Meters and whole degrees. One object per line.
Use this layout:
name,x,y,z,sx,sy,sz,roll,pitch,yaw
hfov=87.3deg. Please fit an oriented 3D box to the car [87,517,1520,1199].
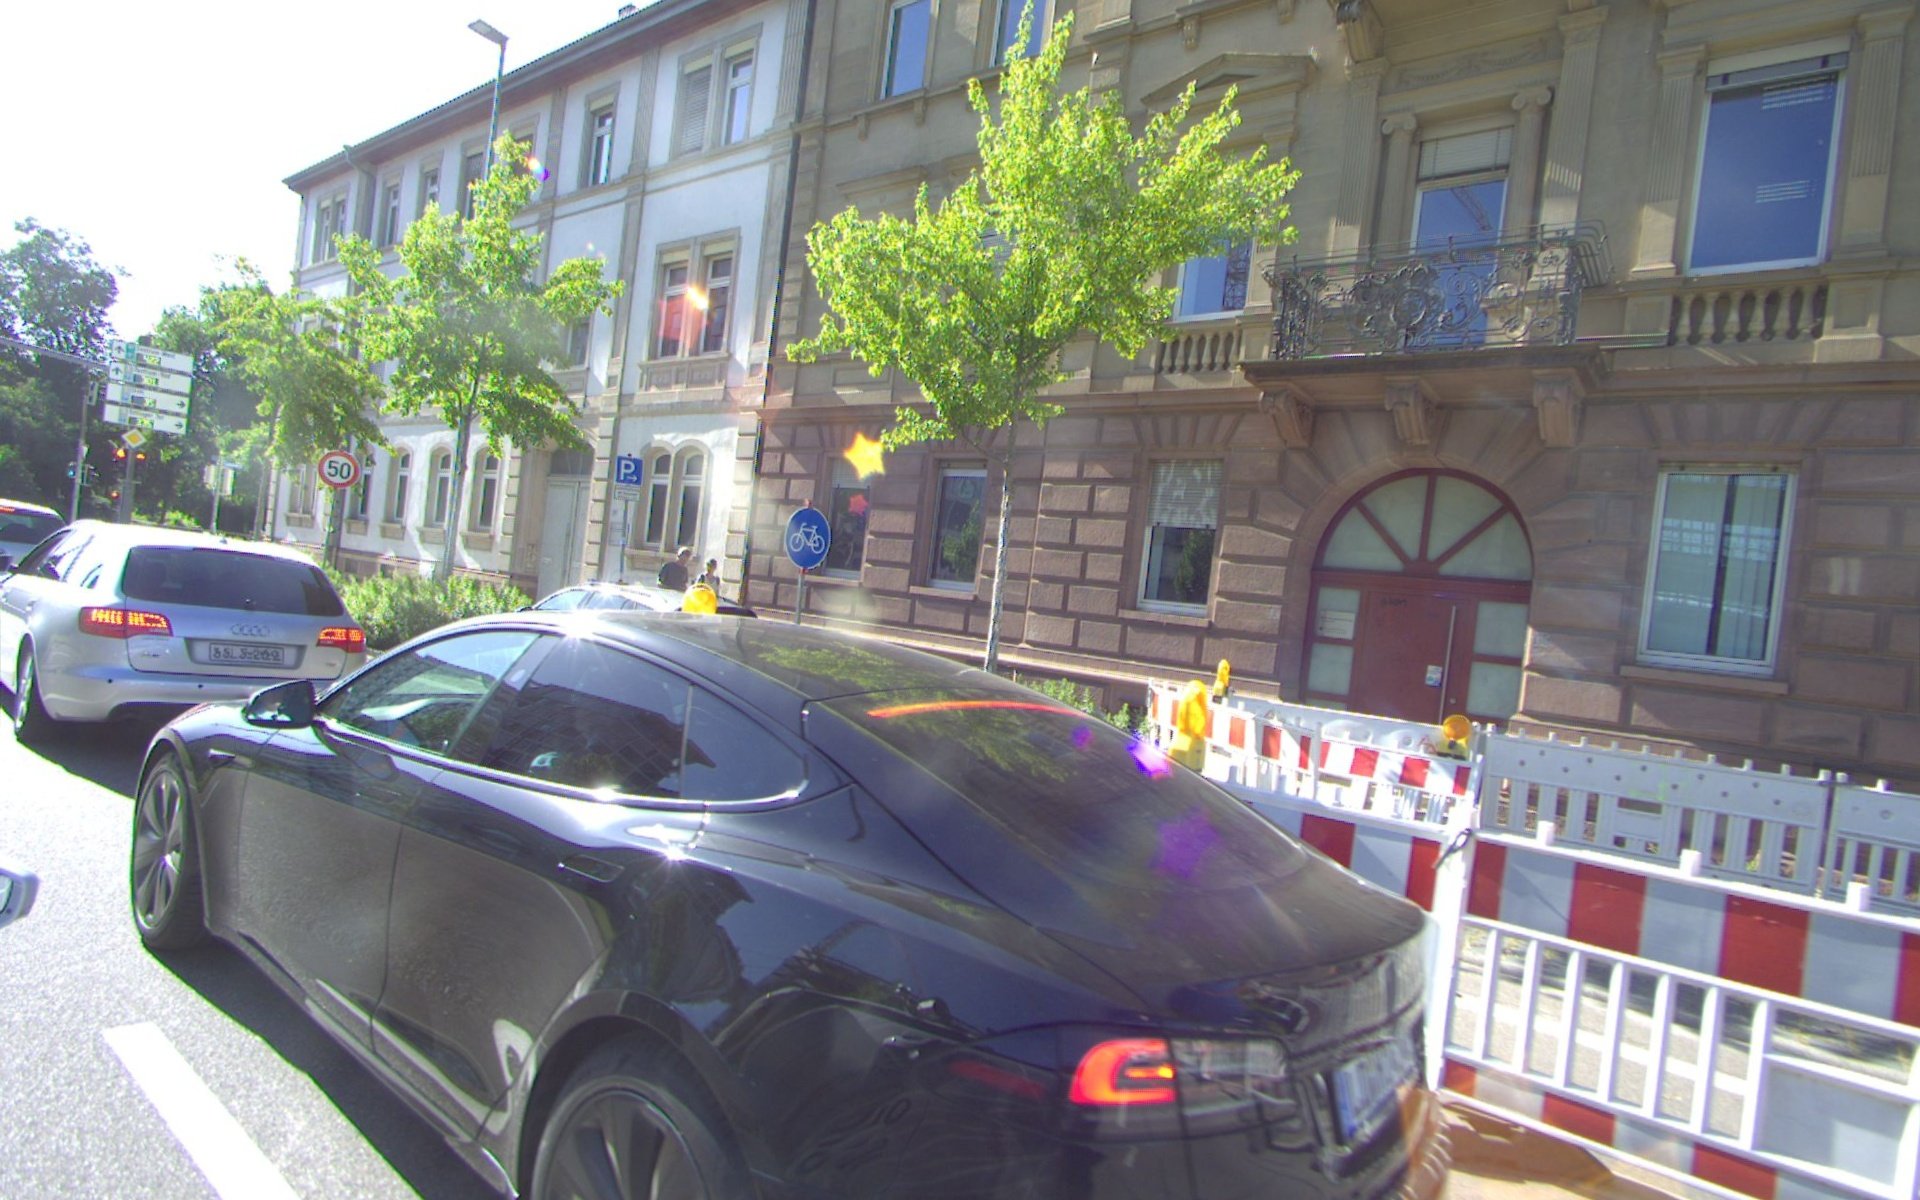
car,-0.917,0.726,3.312,4.457,1.460,2.052,7,-2,38

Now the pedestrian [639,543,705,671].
pedestrian,-4.533,0.108,15.822,0.578,1.939,0.657,7,3,38

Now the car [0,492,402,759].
car,-6.308,0.054,7.831,4.768,1.444,1.747,7,-1,40

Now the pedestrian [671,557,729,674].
pedestrian,-4.265,0.251,16.516,0.578,1.845,0.562,7,4,38

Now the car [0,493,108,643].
car,-11.834,-0.547,11.999,3.946,1.545,1.749,7,-2,39

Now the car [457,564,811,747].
car,-4.023,0.530,11.983,4.630,1.495,1.645,7,2,38
